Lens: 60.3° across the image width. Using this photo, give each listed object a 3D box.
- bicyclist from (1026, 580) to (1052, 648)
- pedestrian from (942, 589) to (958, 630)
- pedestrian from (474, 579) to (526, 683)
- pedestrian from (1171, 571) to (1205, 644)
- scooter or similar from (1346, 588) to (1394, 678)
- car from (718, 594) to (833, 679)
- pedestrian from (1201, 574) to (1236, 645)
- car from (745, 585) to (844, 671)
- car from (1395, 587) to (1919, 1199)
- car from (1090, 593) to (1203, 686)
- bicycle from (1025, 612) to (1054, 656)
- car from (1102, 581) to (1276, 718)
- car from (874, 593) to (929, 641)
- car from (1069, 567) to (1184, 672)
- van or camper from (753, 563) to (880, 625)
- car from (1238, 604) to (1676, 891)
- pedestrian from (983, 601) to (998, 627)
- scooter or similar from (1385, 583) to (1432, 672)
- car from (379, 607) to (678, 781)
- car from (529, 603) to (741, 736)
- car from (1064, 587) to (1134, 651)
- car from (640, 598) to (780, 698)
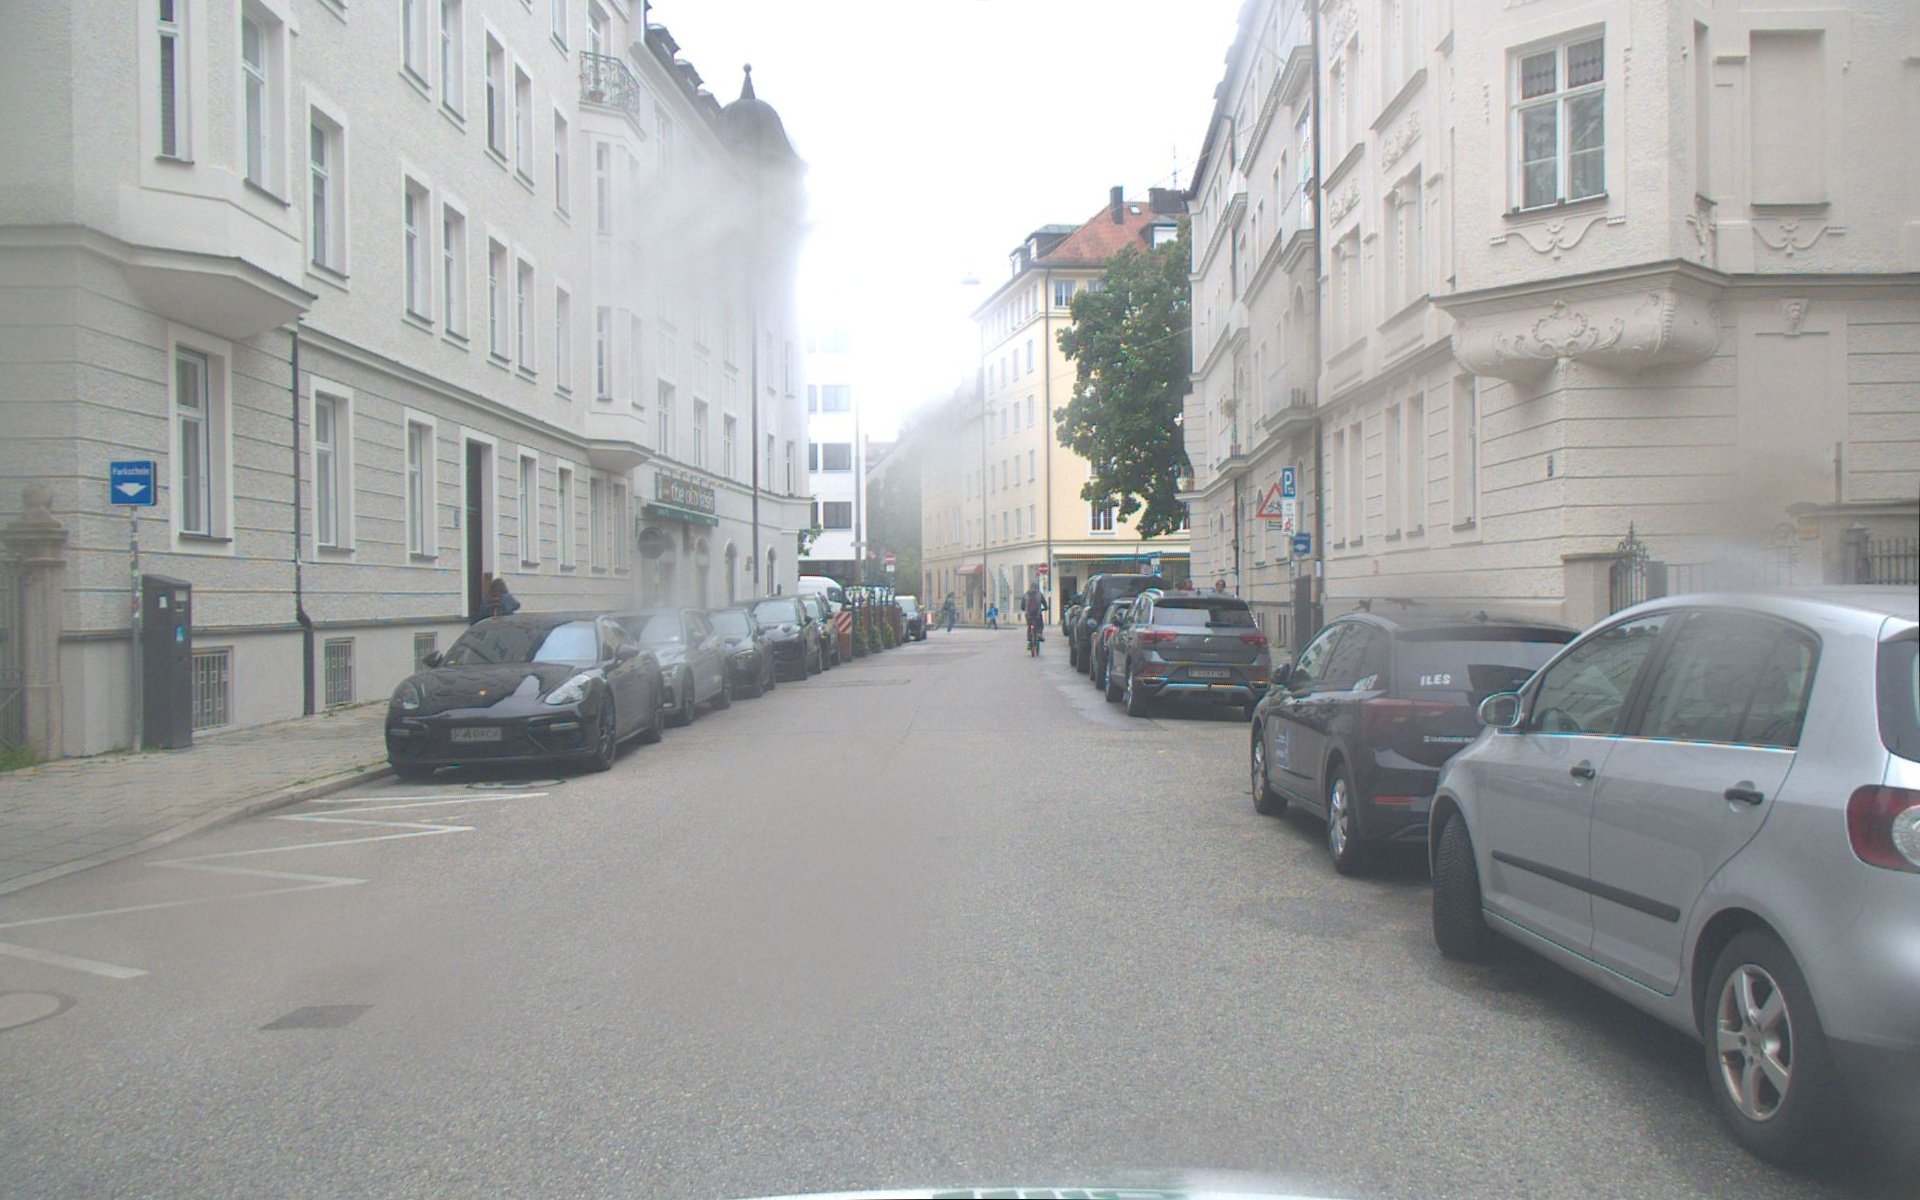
[{"bbox_3d":[1.947,0.335,40.688,0.593,1.634,0.758,-1,0,5],"label":"bicyclist"},{"bbox_3d":[-0.425,0.400,68.999,0.598,1.690,0.551,-1,0,5],"label":"pedestrian"},{"bbox_3d":[-7.801,0.509,28.059,0.683,1.737,0.665,0,0,-2],"label":"pedestrian"},{"bbox_3d":[5.568,0.182,40.434,0.689,1.758,0.703,-2,0,-2],"label":"pedestrian"},{"bbox_3d":[6.310,0.491,25.504,0.529,1.310,1.505,-3,0,9],"label":"scooter or similar"},{"bbox_3d":[-3.517,0.653,32.164,1.706,1.513,4.181,-1,0,0],"label":"car"},{"bbox_3d":[6.388,0.240,40.844,0.666,1.703,0.654,-3,0,-2],"label":"pedestrian"},{"bbox_3d":[-3.647,0.576,37.151,1.710,1.702,4.275,-4,1,0],"label":"car"},{"bbox_3d":[2.947,0.727,5.836,1.673,1.527,3.999,0,0,-2],"label":"car"},{"bbox_3d":[3.046,0.614,27.587,1.629,1.420,3.583,1,0,3],"label":"car"},{"bbox_3d":[1.957,0.832,40.680,0.626,1.022,1.575,-1,0,5],"label":"bicycle"},{"bbox_3d":[2.919,0.569,21.816,1.672,1.615,4.000,1,1,-1],"label":"car"},{"bbox_3d":[-2.123,0.601,60.818,1.641,1.624,3.946,-3,0,3],"label":"car"},{"bbox_3d":[3.268,0.346,33.293,1.871,1.918,4.714,1,0,1],"label":"car"},{"bbox_3d":[-6.693,-0.256,76.992,5.792,2.724,1.870,-1,-2,-7],"label":"van or camper"},{"bbox_3d":[2.893,0.764,10.506,1.579,1.419,4.000,1,0,0],"label":"car"},{"bbox_3d":[1.540,0.684,82.777,0.684,1.292,0.651,-1,0,5],"label":"pedestrian"},{"bbox_3d":[6.879,0.406,25.416,0.496,1.310,1.352,-3,0,9],"label":"scooter or similar"},{"bbox_3d":[-4.054,0.804,16.370,1.812,1.391,4.701,-1,0,-1],"label":"car"},{"bbox_3d":[-4.141,0.826,21.805,1.758,1.444,4.511,-4,0,1],"label":"car"},{"bbox_3d":[3.520,0.444,42.017,1.670,1.496,4.203,-1,1,4],"label":"car"},{"bbox_3d":[-4.039,0.726,27.319,1.774,1.409,4.441,-2,0,-3],"label":"car"}]
